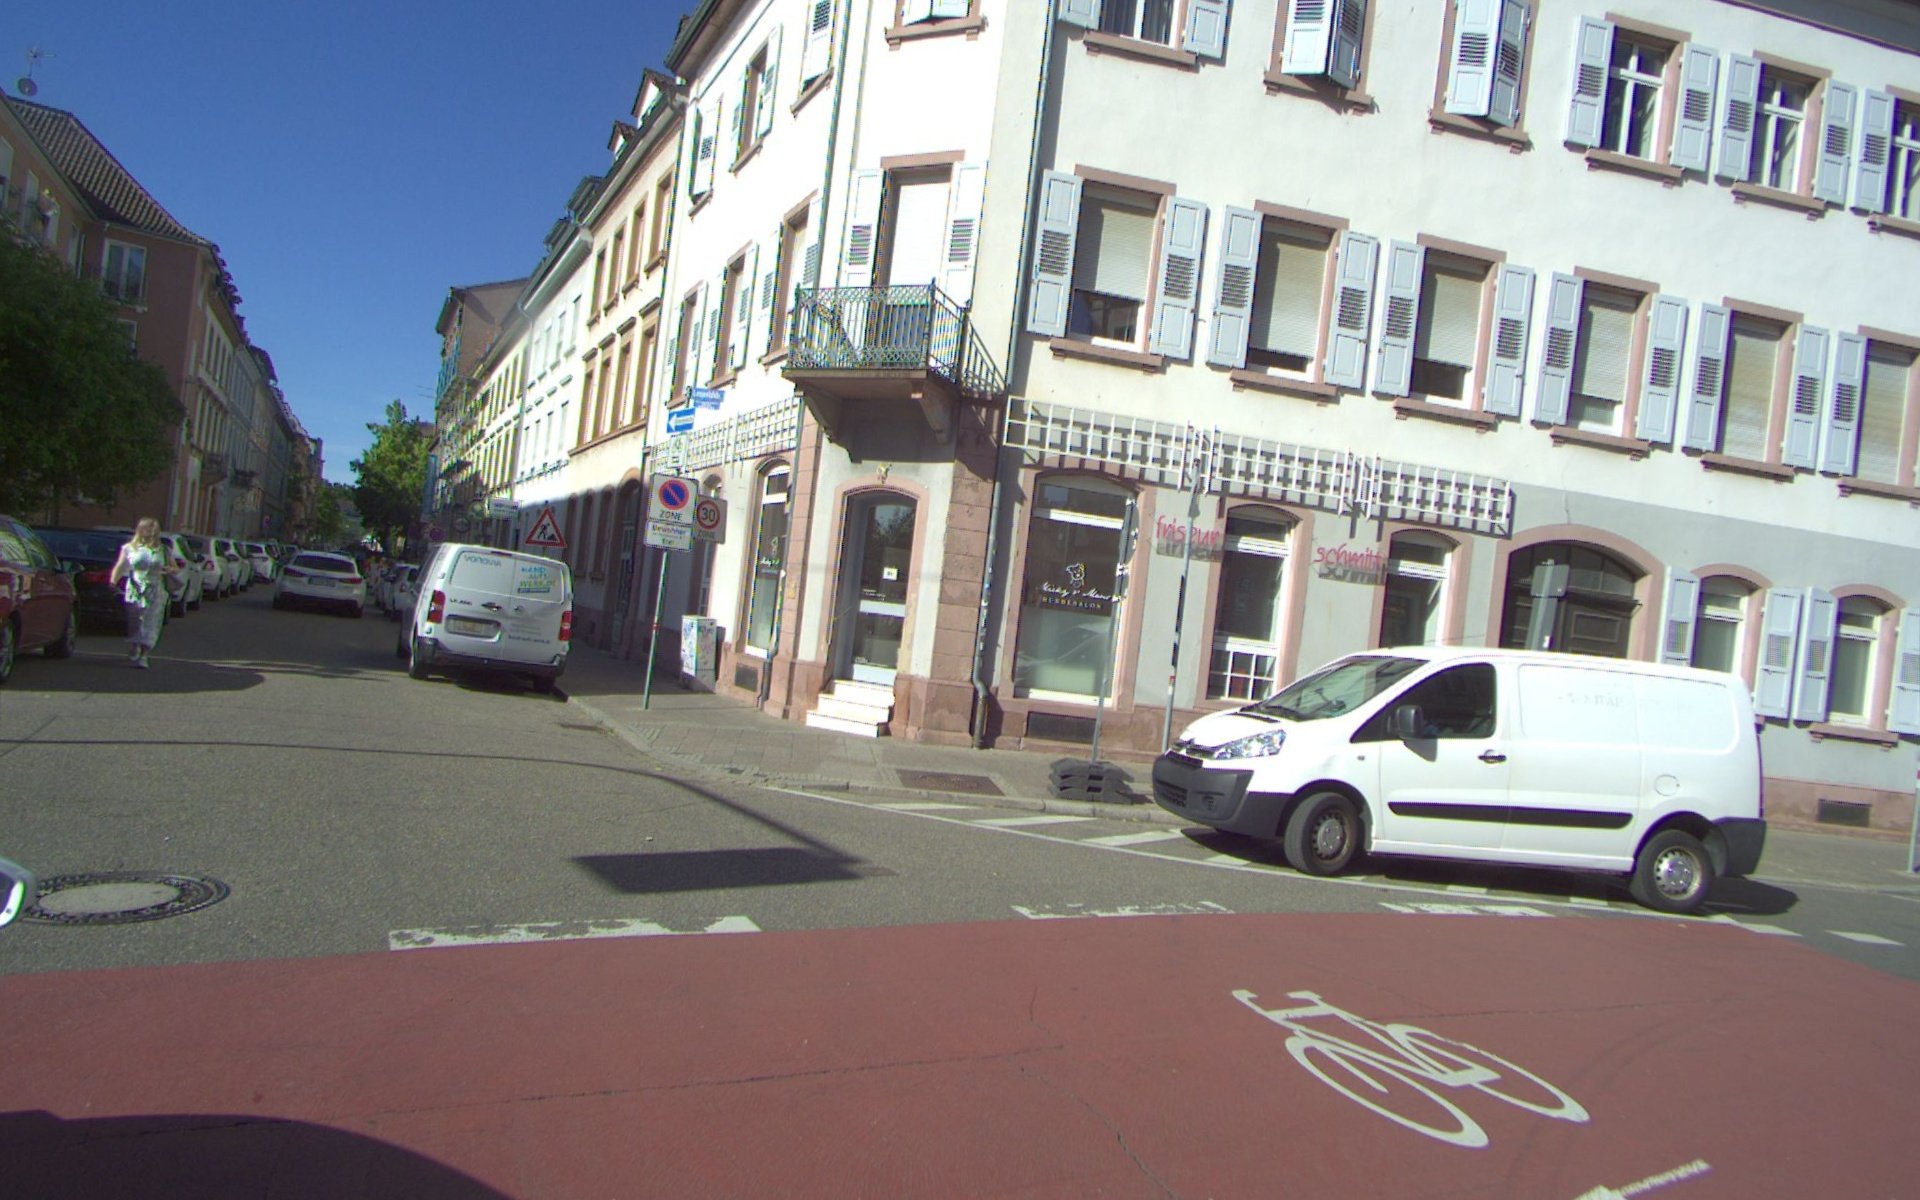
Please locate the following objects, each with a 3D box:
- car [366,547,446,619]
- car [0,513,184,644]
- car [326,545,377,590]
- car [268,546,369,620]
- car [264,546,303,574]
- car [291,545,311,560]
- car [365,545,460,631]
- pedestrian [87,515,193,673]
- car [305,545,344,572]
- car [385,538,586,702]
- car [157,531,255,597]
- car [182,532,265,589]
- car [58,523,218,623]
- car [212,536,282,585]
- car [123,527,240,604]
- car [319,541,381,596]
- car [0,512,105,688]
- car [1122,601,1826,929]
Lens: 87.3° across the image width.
[{"bbox_3d":[-17.235,-0.552,31.260,1.881,1.881,3.964,8,-2,-30],"label":"car"},{"bbox_3d":[-12.731,-0.346,14.630,1.641,1.518,4.049,8,-2,-30],"label":"car"},{"bbox_3d":[-29.724,-1.596,49.229,1.881,1.881,3.964,8,-2,-30],"label":"car"},{"bbox_3d":[-15.688,-0.438,24.781,1.818,1.474,3.932,8,-2,-30],"label":"car"},{"bbox_3d":[-42.326,-2.510,63.027,1.641,1.518,3.734,8,-2,-30],"label":"car"},{"bbox_3d":[-77.031,-5.548,117.661,1.641,1.518,3.734,8,-2,-30],"label":"car"},{"bbox_3d":[-14.503,-0.348,26.563,1.881,1.881,3.964,8,-2,-30],"label":"car"},{"bbox_3d":[-9.057,-0.066,11.106,0.730,1.633,0.806,7,-1,-43],"label":"pedestrian"},{"bbox_3d":[-39.834,-2.611,63.141,1.748,1.426,4.295,8,-2,-30],"label":"car"},{"bbox_3d":[-7.328,0.202,15.213,1.884,1.879,4.971,10,-3,-33],"label":"car"},{"bbox_3d":[-20.968,-1.006,28.106,1.641,1.518,3.734,8,-2,-30],"label":"car"},{"bbox_3d":[-23.682,-1.269,32.467,1.641,1.518,3.734,8,-2,-30],"label":"car"},{"bbox_3d":[-15.417,-0.511,19.065,1.641,1.518,3.734,8,-2,-30],"label":"car"},{"bbox_3d":[-26.216,-1.455,37.076,1.641,1.518,3.734,8,-2,-30],"label":"car"},{"bbox_3d":[-18.866,-0.832,24.545,1.641,1.518,3.734,8,-2,-30],"label":"car"},{"bbox_3d":[-24.564,-1.273,40.636,1.880,1.881,3.965,7,-1,-30],"label":"car"},{"bbox_3d":[-9.702,-0.126,9.549,1.672,1.518,3.778,6,-1,-30],"label":"car"},{"bbox_3d":[4.161,1.315,8.561,4.941,1.969,2.048,7,-1,-9],"label":"car"}]
